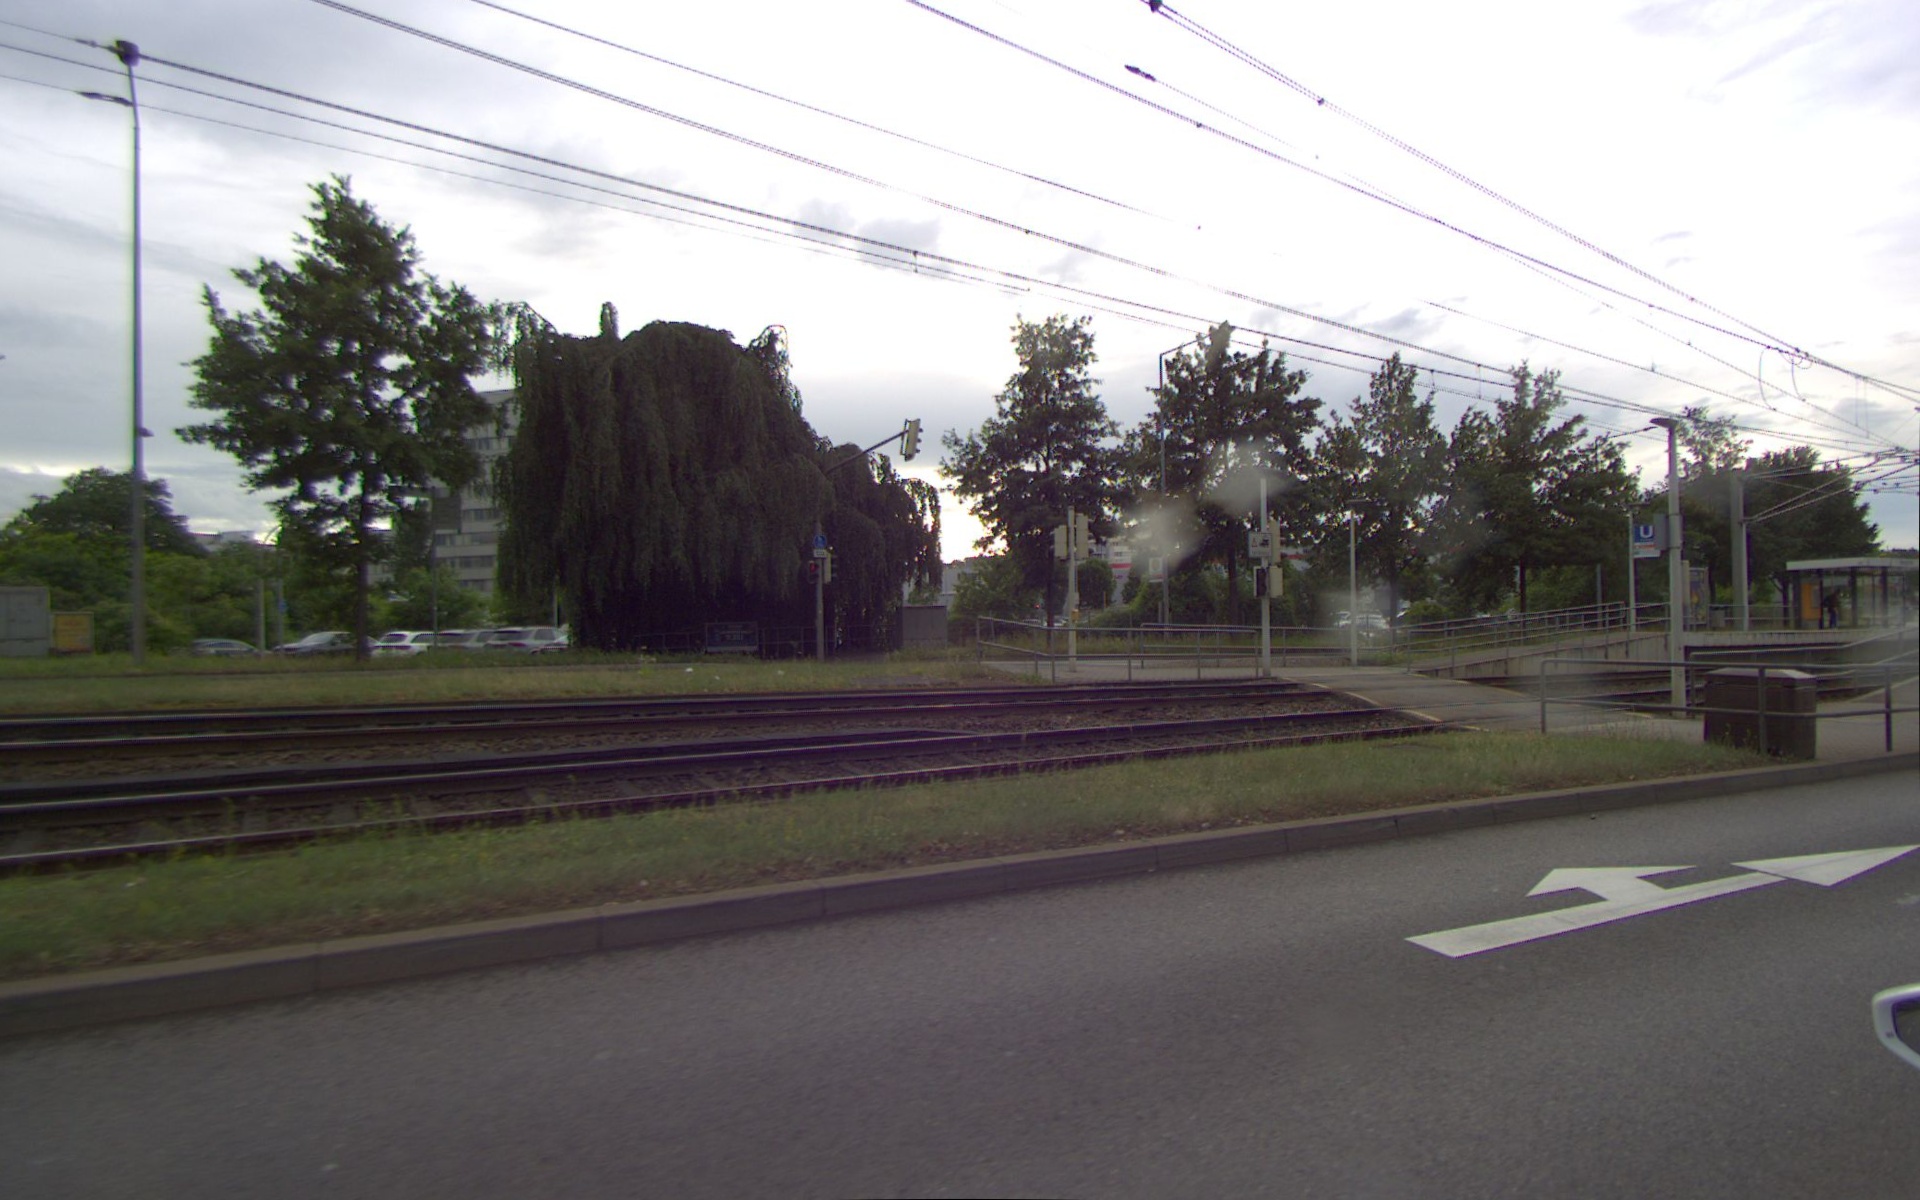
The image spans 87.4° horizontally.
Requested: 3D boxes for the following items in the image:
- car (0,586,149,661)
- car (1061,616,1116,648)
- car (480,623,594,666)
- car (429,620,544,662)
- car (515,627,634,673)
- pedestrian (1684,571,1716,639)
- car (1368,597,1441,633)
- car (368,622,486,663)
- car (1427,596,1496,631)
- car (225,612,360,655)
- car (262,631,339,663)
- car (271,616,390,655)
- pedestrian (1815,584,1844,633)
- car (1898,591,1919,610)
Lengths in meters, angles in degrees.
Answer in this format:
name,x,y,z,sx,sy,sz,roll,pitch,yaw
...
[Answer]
name,x,y,z,sx,sy,sz,roll,pitch,yaw
car,-22.301,0.550,24.361,3.966,1.672,1.978,4,-2,-39
car,6.474,1.617,50.314,1.960,1.433,4.002,2,-1,18
car,-16.651,1.759,39.729,1.724,1.514,3.997,2,-1,25
car,-19.145,1.670,40.829,1.724,1.514,3.997,2,-1,25
car,-14.419,1.863,37.817,1.961,1.529,4.000,2,-1,21
pedestrian,21.901,0.148,29.743,0.657,1.978,0.545,3,-1,-35
car,26.649,0.880,60.195,3.950,2.040,1.985,0,0,-29
car,-21.852,1.754,41.355,1.724,1.514,3.997,2,-1,25
car,31.293,0.801,62.667,3.950,2.041,1.985,-1,1,-29
car,-26.244,1.322,39.643,1.961,1.529,4.000,2,-1,21
car,-40.224,2.852,61.295,3.638,1.696,2.001,2,-1,17
car,-26.963,1.548,43.145,1.724,1.514,3.997,2,-1,25
pedestrian,33.802,0.329,39.037,0.742,1.878,0.634,3,-1,-32
car,114.283,0.044,120.183,1.963,2.040,3.995,2,-1,28
